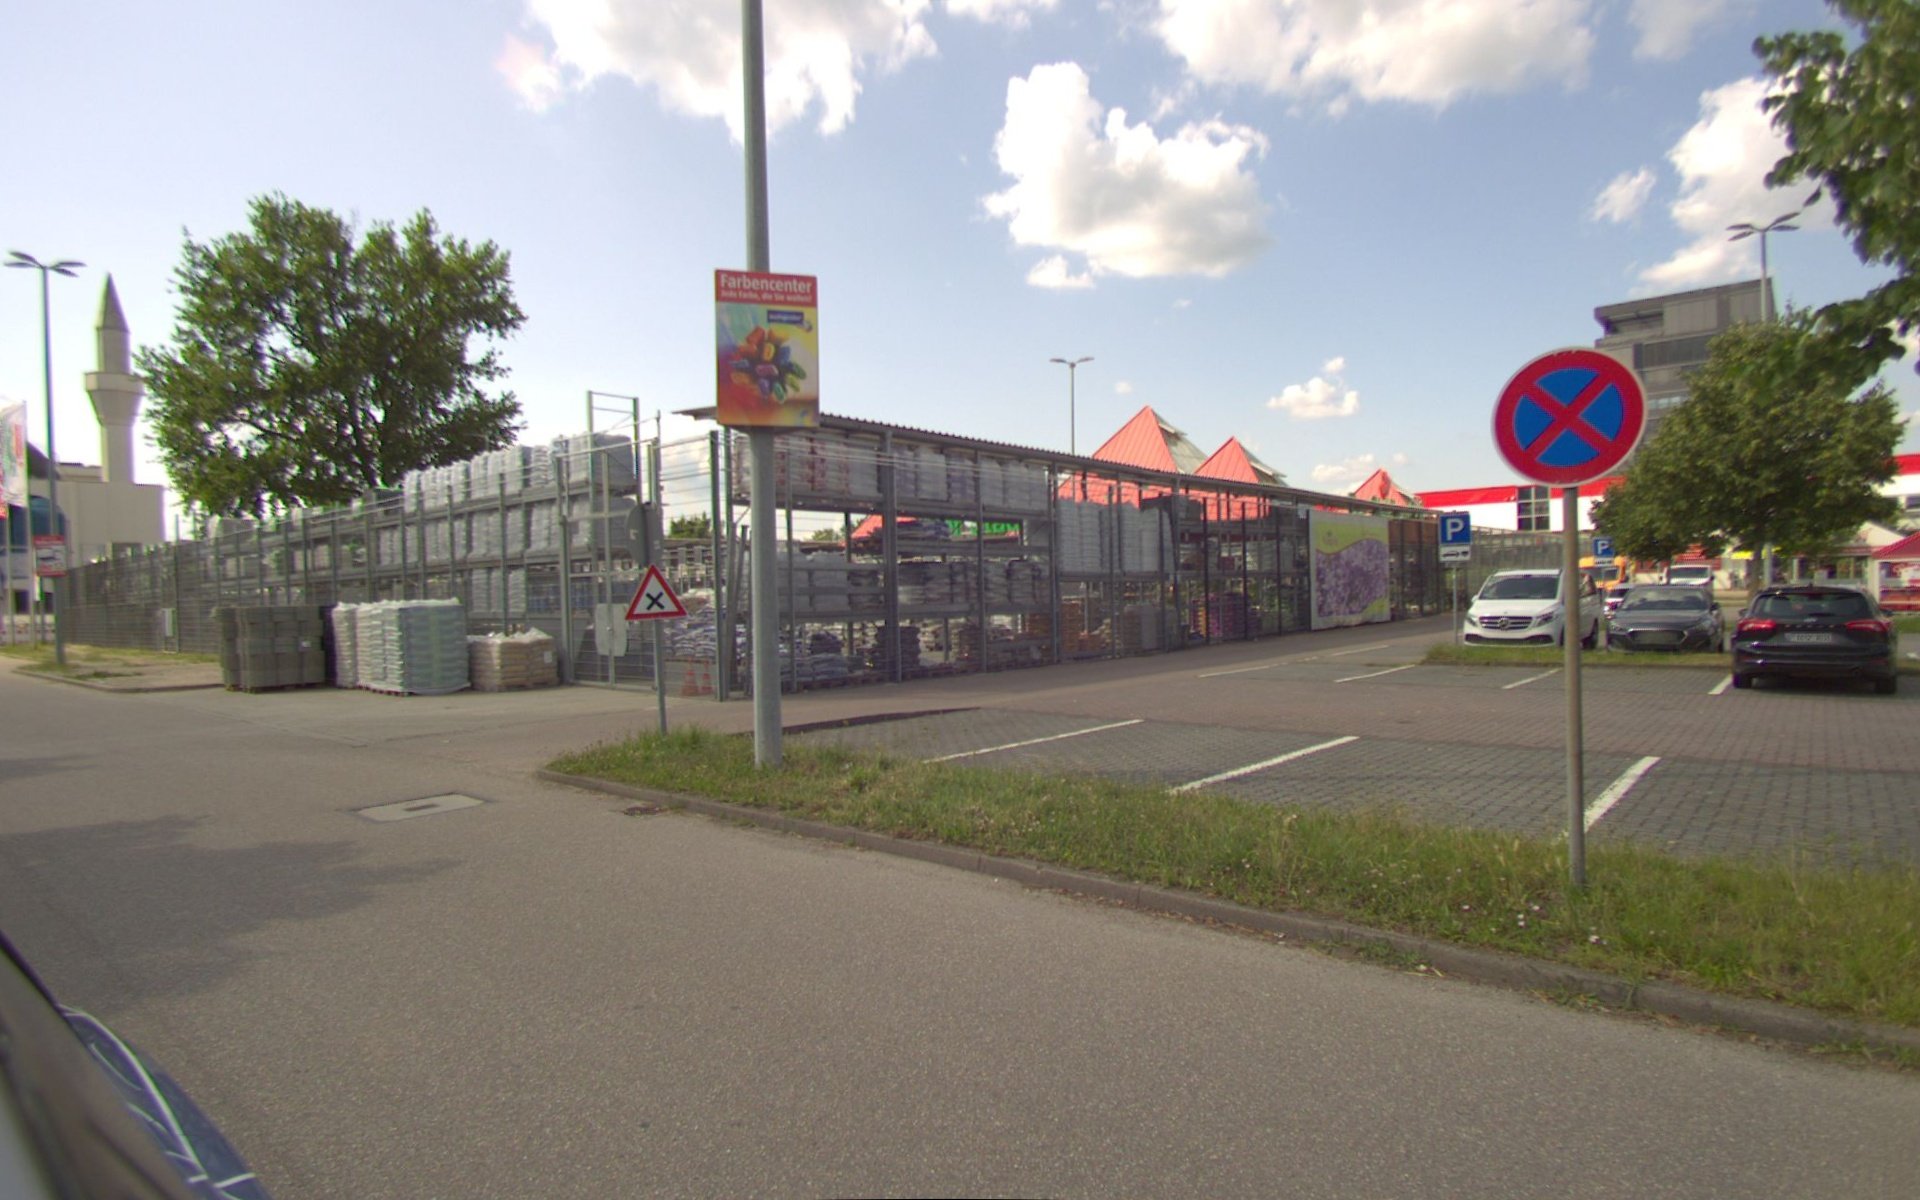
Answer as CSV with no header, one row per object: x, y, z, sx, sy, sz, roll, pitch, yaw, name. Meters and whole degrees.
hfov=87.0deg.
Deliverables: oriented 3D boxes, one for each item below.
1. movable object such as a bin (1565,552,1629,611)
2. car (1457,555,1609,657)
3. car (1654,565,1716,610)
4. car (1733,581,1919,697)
29.030,-0.813,46.024,2.126,2.512,5.273,-2,0,35,movable object such as a bin
12.983,0.091,22.758,1.999,2.029,5.117,-2,0,41,car
34.984,-0.631,48.787,1.999,2.028,4.743,3,2,40,car
12.077,0.472,14.305,1.809,1.415,3.313,-1,0,38,car
